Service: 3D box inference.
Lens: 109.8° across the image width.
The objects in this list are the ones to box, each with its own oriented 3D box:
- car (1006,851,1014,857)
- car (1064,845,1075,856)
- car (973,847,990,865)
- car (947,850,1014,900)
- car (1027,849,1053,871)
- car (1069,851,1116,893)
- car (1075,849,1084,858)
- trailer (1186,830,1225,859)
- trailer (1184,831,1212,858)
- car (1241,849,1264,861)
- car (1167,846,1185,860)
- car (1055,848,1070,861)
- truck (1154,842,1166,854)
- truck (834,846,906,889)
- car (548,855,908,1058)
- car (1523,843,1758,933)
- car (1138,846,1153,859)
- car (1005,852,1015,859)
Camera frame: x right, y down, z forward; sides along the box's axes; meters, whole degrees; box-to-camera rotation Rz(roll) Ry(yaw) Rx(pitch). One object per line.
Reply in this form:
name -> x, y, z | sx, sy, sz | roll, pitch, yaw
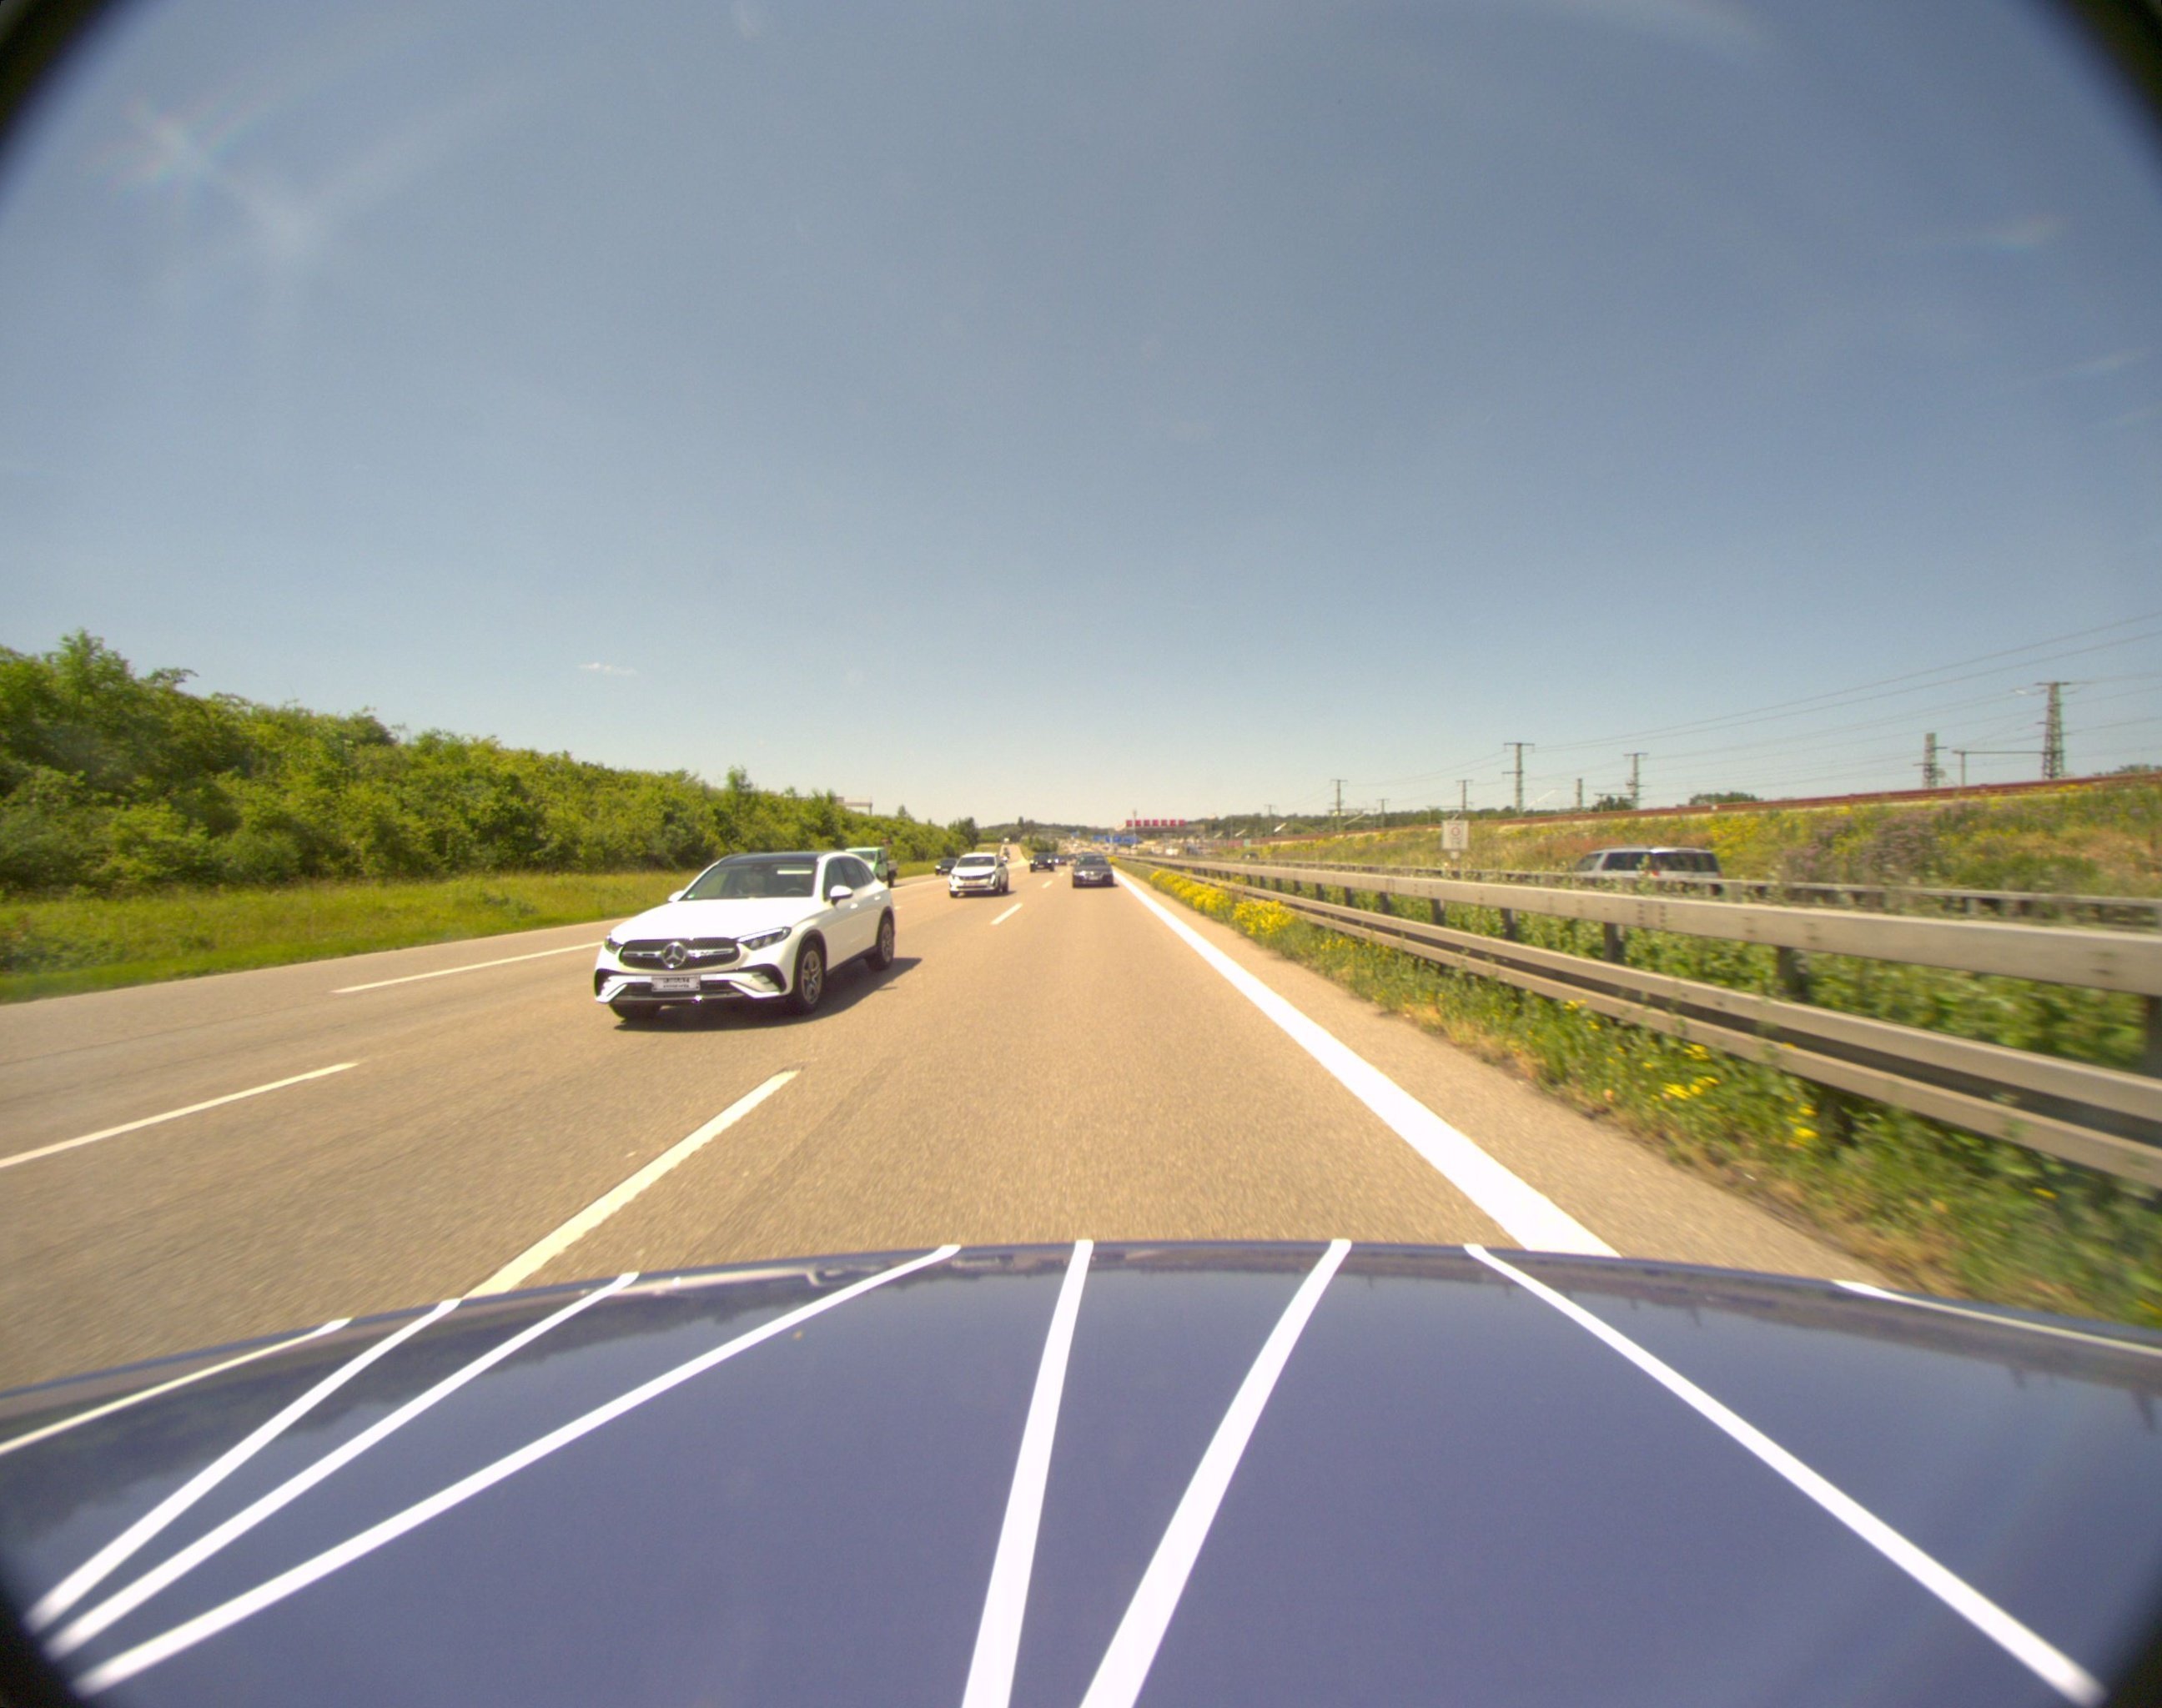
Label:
car -> -21.102, -0.063, 226.675 | 1.983, 1.620, 4.615 | -2, 1, -1
car -> -2.156, -0.645, 148.177 | 1.999, 2.002, 3.999 | -2, 1, 0
car -> -12.117, 0.208, 92.905 | 2.000, 2.159, 4.890 | -1, 0, -7
car -> -3.815, 0.735, 29.509 | 1.898, 1.620, 4.616 | -2, 1, 0
car -> -3.472, 0.497, 65.487 | 1.983, 1.620, 4.615 | -2, 1, -1
car -> 0.448, 0.691, 31.128 | 1.752, 1.462, 3.998 | -2, 2, 0
car -> -0.331, -0.187, 180.965 | 1.999, 2.002, 3.999 | -2, 1, 0
trailer -> 17.682, -1.354, 109.148 | 3.058, 3.845, 15.976 | -1, 0, 1
trailer -> 17.721, -1.409, 115.566 | 3.058, 3.845, 7.202 | -1, 1, 1
car -> 21.923, 0.127, 97.220 | 1.922, 1.506, 4.238 | -1, 1, 0
car -> 14.258, -0.168, 114.725 | 1.998, 2.002, 5.431 | -1, 1, 0
car -> -2.282, 0.053, 93.586 | 1.752, 1.462, 3.998 | -2, 2, -2
truck -> 23.267, -1.839, 224.585 | 2.864, 3.446, 7.780 | -3, 0, 1
truck -> -11.000, 0.626, 40.200 | 2.170, 2.080, 6.117 | -1, 1, -1
car -> -3.558, 0.883, 8.841 | 1.909, 1.646, 4.636 | -2, 0, 1
car -> 12.398, 0.658, 17.300 | 1.998, 1.725, 4.556 | -1, 1, 0
car -> 9.530, -0.242, 112.936 | 1.998, 1.838, 4.000 | -1, 1, 1
car -> -17.065, 0.366, 182.503 | 1.983, 1.620, 4.615 | -2, 1, -1
